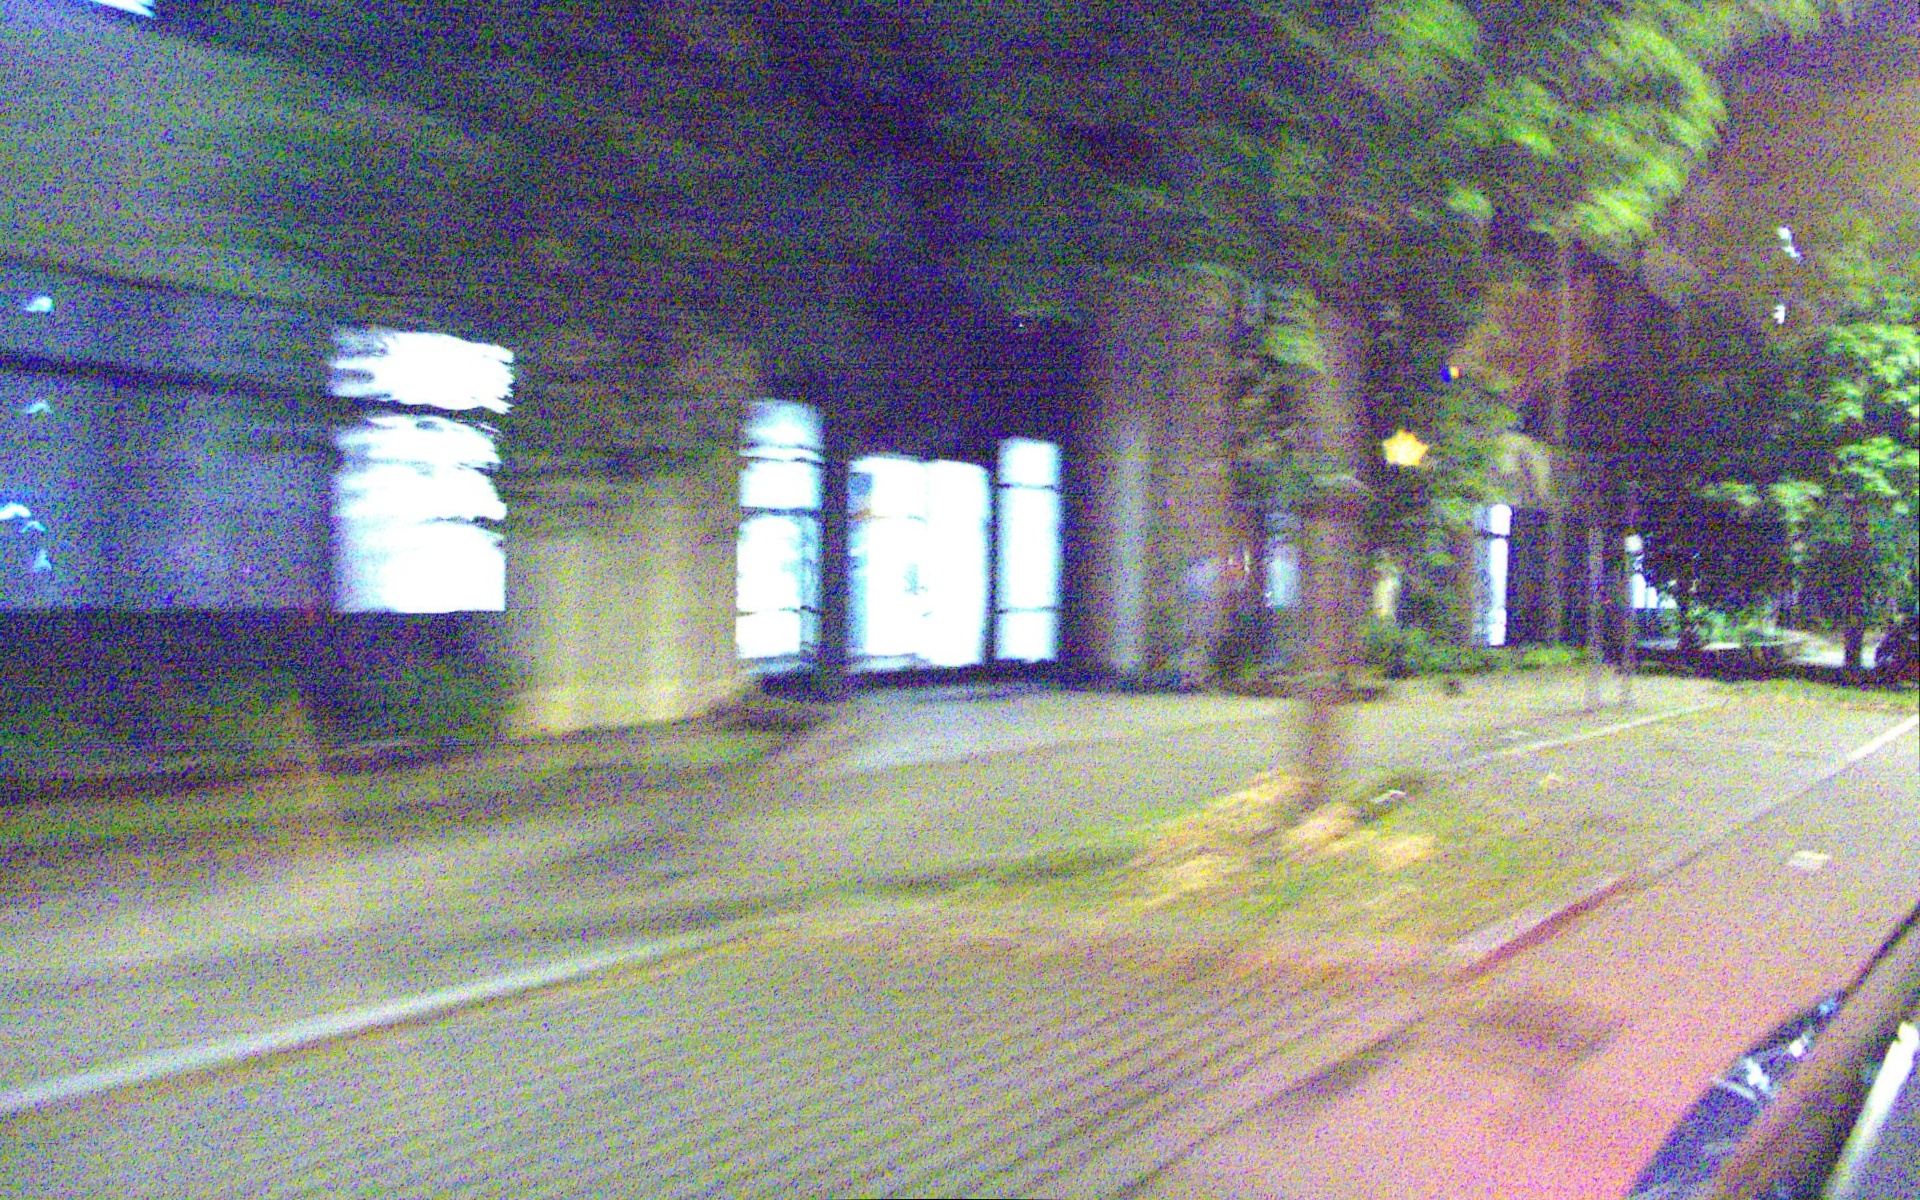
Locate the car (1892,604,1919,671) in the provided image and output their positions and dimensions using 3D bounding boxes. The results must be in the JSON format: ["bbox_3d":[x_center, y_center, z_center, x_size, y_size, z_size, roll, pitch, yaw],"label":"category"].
[{"bbox_3d":[23.017,0.867,23.279,4.072,1.446,1.673,0,2,-39],"label":"car"}]

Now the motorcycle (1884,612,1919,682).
[{"bbox_3d":[18.882,0.928,19.486,0.919,1.299,2.216,2,1,24],"label":"motorcycle"}]
